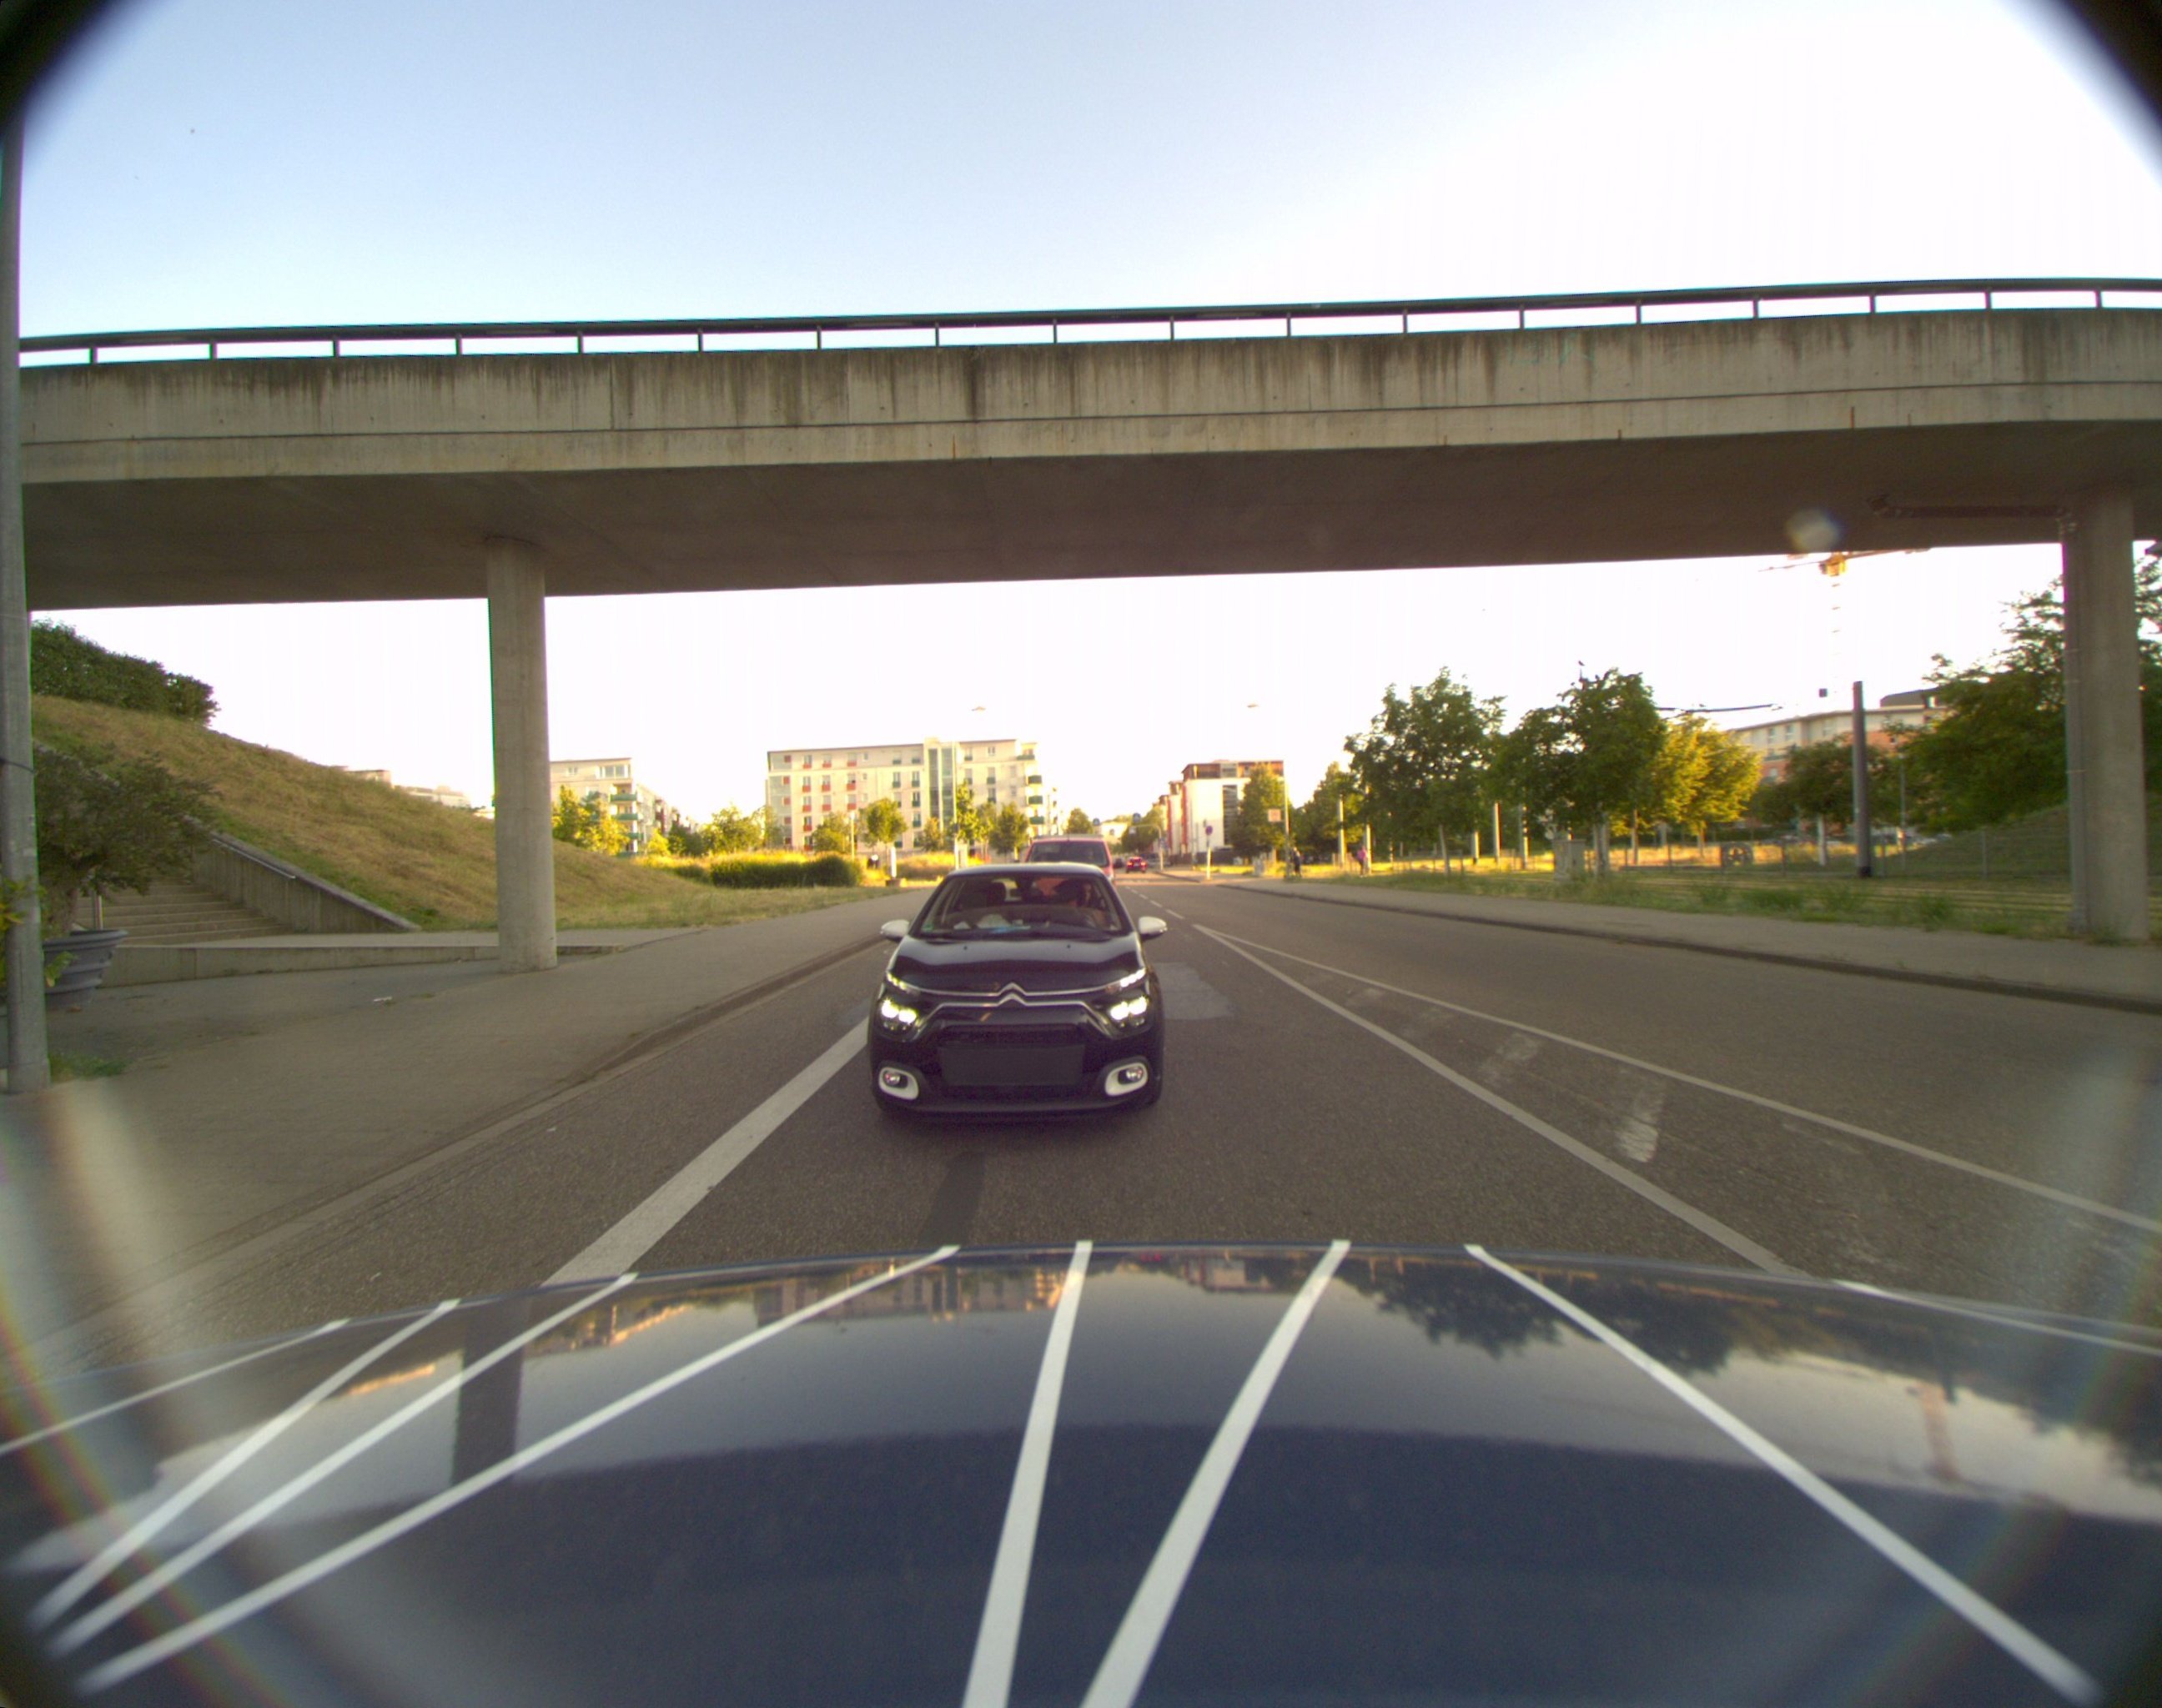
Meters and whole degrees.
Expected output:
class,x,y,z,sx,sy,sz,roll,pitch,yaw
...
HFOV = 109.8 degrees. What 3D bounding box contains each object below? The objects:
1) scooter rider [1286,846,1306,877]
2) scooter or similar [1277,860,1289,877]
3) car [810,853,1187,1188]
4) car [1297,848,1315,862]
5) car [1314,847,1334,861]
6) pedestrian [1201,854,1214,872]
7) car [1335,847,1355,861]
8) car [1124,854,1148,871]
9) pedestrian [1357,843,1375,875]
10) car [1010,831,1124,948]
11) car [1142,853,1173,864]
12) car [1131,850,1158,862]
class,x,y,z,sx,sy,sz,roll,pitch,yaw
scooter rider,11.315,0.386,39.982,0.897,1.568,0.712,-2,0,11
scooter or similar,10.663,0.754,40.111,0.552,0.890,0.723,-1,1,10
car,-0.445,0.806,5.702,1.760,1.543,4.071,-2,0,-2
car,28.794,0.131,97.170,1.869,1.710,3.848,-2,0,12
car,30.987,0.045,96.841,1.869,1.710,3.848,-2,0,9
pedestrian,14.741,1.059,88.476,1.088,2.002,1.141,-2,1,29
car,33.498,-0.049,96.567,1.869,1.710,3.848,-2,0,12
car,5.308,0.816,73.333,1.998,1.554,4.000,-2,0,1
pedestrian,14.696,0.265,39.213,0.779,1.602,0.417,-2,0,12
car,-0.252,0.640,15.949,1.931,1.979,4.822,-3,0,0
car,11.456,0.658,113.983,4.387,1.550,1.839,-2,1,2
car,12.021,0.337,144.160,4.745,2.002,1.999,-2,1,-2
